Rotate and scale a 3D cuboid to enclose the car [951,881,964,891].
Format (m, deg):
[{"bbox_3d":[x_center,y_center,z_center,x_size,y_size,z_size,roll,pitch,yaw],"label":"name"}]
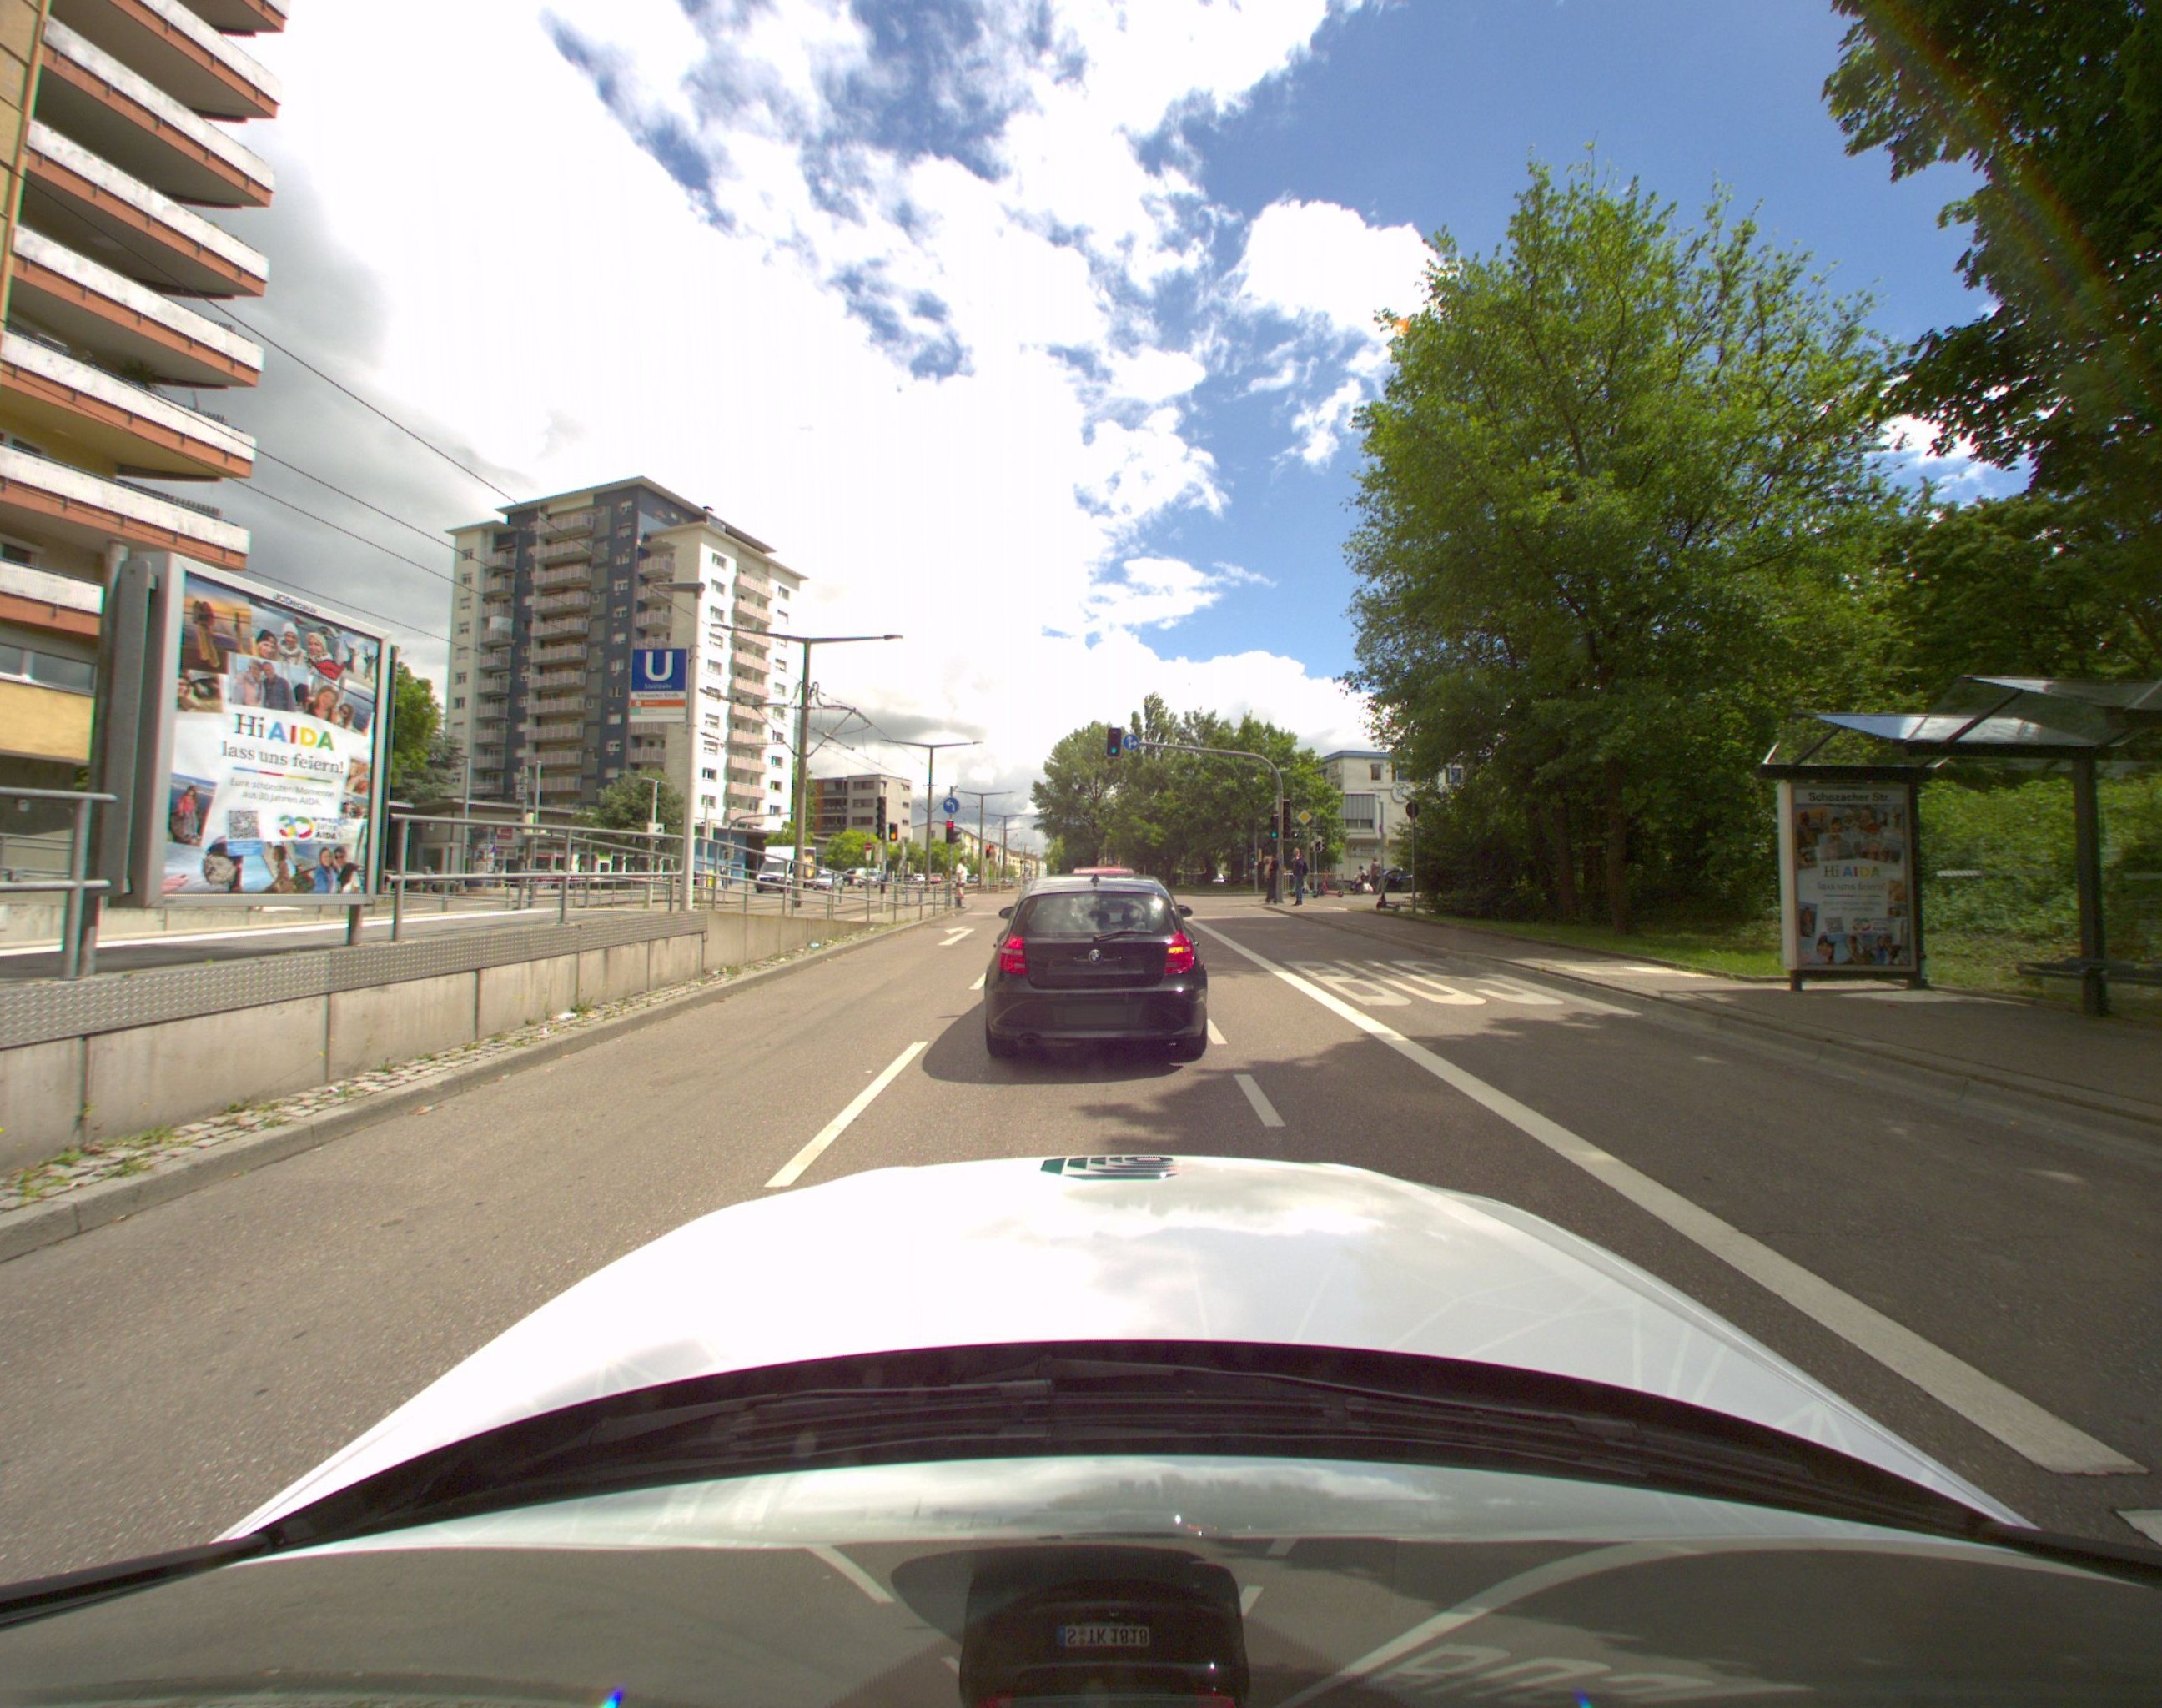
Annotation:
[{"bbox_3d":[-20.225,5.207,133.472,1.646,1.534,3.871,0,-1,0],"label":"car"}]

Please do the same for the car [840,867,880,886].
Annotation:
[{"bbox_3d":[-24.343,2.453,89.589,3.944,1.975,1.637,0,-1,-41],"label":"car"}]

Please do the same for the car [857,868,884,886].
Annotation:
[{"bbox_3d":[-20.461,2.220,79.377,1.586,1.756,3.775,0,-1,1],"label":"car"}]

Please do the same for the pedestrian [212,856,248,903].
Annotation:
[{"bbox_3d":[-32.860,0.984,31.451,0.654,1.776,0.662,0,-1,0],"label":"pedestrian"}]

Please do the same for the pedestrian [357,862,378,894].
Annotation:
[{"bbox_3d":[-37.468,1.255,42.765,0.365,1.671,0.718,0,-1,5],"label":"pedestrian"}]

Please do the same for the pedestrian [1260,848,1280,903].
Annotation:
[{"bbox_3d":[6.566,0.748,28.304,0.632,1.876,0.519,0,-1,8],"label":"pedestrian"}]

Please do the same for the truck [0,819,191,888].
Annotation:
[{"bbox_3d":[-34.560,-0.004,28.471,4.262,2.290,2.352,0,-1,2],"label":"truck"}]

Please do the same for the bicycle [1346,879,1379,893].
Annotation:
[{"bbox_3d":[12.708,1.434,36.824,0.535,0.610,1.579,1,-1,-21],"label":"bicycle"}]

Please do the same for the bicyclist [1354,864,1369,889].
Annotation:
[{"bbox_3d":[12.693,1.015,36.874,0.503,1.157,0.397,0,-1,-20],"label":"bicyclist"}]

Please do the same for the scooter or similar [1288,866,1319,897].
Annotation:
[{"bbox_3d":[8.867,1.088,32.481,1.105,1.235,0.540,0,-1,4],"label":"scooter or similar"}]

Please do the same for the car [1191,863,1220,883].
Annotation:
[{"bbox_3d":[12.103,1.822,79.369,1.724,1.871,3.990,0,-1,-7],"label":"car"}]

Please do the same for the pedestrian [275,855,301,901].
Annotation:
[{"bbox_3d":[-34.965,1.049,35.903,0.537,2.014,0.561,0,-1,-2],"label":"pedestrian"}]

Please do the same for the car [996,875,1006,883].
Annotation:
[{"bbox_3d":[-16.401,5.046,167.075,1.646,1.534,3.871,0,-1,0],"label":"car"}]

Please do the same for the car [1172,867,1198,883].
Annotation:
[{"bbox_3d":[11.485,2.329,90.240,1.862,1.662,3.987,0,-1,-9],"label":"car"}]

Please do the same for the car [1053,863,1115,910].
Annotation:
[{"bbox_3d":[0.167,1.008,26.990,1.893,1.422,4.540,0,-1,2],"label":"car"}]

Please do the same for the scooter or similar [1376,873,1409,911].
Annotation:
[{"bbox_3d":[10.756,1.302,28.155,0.886,1.230,0.455,4,-1,2],"label":"scooter or similar"}]

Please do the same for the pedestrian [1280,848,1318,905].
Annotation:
[{"bbox_3d":[7.280,0.737,27.209,1.008,1.876,0.796,0,-1,-5],"label":"pedestrian"}]

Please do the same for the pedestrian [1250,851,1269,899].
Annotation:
[{"bbox_3d":[6.604,0.764,30.122,0.632,1.766,0.519,0,-1,8],"label":"pedestrian"}]

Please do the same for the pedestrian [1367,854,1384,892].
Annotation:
[{"bbox_3d":[13.460,0.877,37.201,0.651,1.713,0.464,-1,-1,28],"label":"pedestrian"}]

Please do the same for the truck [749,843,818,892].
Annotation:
[{"bbox_3d":[-20.380,0.913,56.167,2.275,3.118,7.312,0,-1,-2],"label":"truck"}]

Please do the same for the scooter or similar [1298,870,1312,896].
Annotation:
[{"bbox_3d":[9.499,1.216,34.482,0.543,1.064,1.267,0,-1,16],"label":"scooter or similar"}]

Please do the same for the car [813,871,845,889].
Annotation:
[{"bbox_3d":[-20.552,2.096,66.530,1.402,1.461,3.773,0,-1,0],"label":"car"}]

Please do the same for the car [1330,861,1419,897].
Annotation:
[{"bbox_3d":[17.381,1.480,48.375,4.529,2.014,1.996,-1,-1,-6],"label":"car"}]

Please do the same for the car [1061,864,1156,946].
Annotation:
[{"bbox_3d":[0.523,0.900,15.702,1.632,1.400,3.421,0,-1,2],"label":"car"}]

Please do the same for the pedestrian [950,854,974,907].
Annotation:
[{"bbox_3d":[-4.018,0.888,27.563,0.685,1.734,0.688,-1,-1,1],"label":"pedestrian"}]

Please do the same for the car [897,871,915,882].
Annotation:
[{"bbox_3d":[-24.072,3.125,112.369,1.586,1.474,3.775,0,-1,1],"label":"car"}]

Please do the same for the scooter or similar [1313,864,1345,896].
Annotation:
[{"bbox_3d":[10.164,1.065,33.442,1.145,1.272,0.556,1,-1,4],"label":"scooter or similar"}]

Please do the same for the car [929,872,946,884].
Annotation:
[{"bbox_3d":[-20.232,3.389,115.080,1.646,1.534,3.871,0,-1,0],"label":"car"}]

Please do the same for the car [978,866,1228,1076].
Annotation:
[{"bbox_3d":[0.202,0.822,7.234,1.694,1.400,3.421,0,-1,2],"label":"car"}]

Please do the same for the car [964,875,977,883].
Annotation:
[{"bbox_3d":[-20.760,4.698,153.020,1.644,1.534,3.875,0,-1,4],"label":"car"}]

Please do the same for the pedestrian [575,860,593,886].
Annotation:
[{"bbox_3d":[-39.646,1.510,64.966,0.851,2.014,0.852,-1,-1,29],"label":"pedestrian"}]
